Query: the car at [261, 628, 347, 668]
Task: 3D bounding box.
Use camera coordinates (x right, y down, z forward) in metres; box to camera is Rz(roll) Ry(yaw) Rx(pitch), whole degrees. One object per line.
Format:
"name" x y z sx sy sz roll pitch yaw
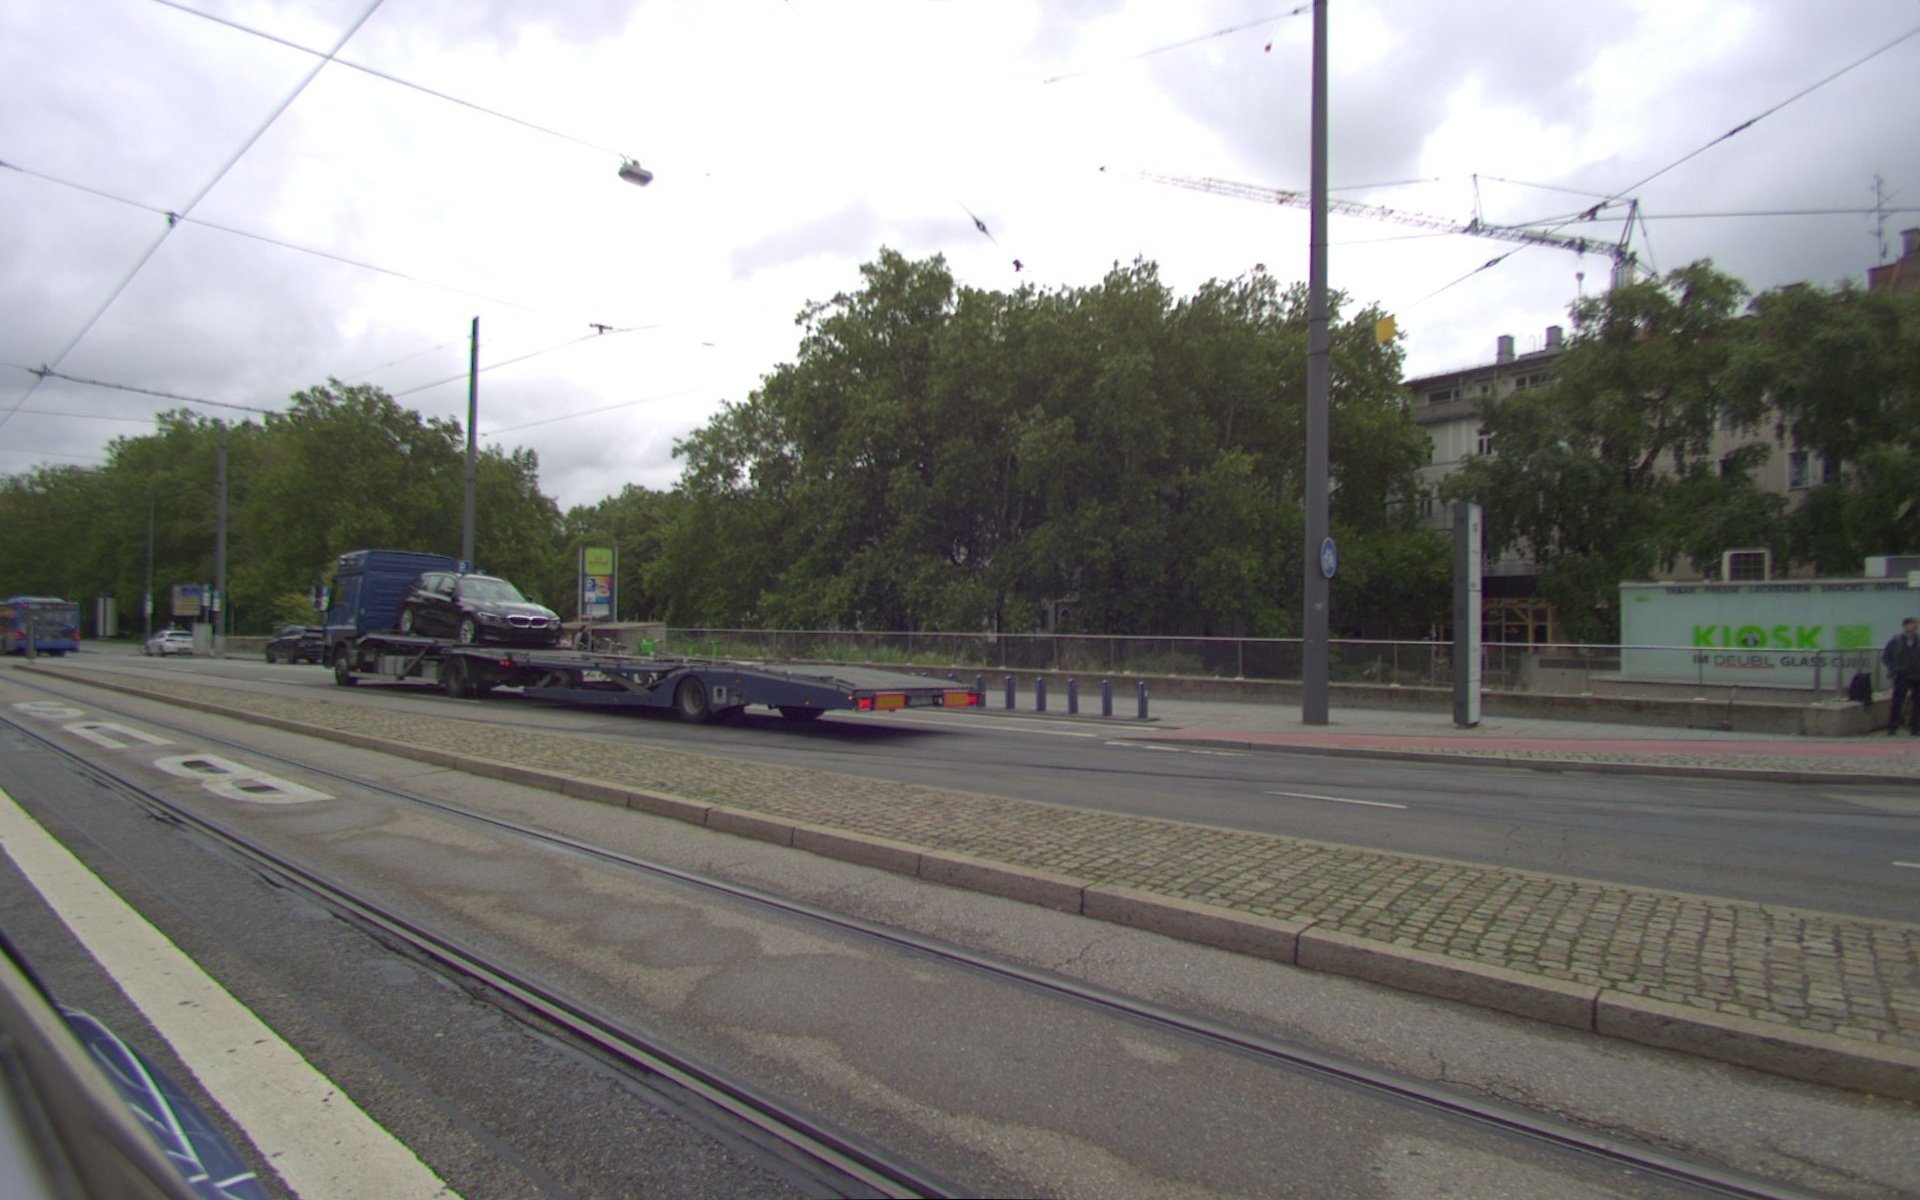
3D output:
"car" -27.710 1.994 42.696 4.099 1.582 1.973 -1 -2 41

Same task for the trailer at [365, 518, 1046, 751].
"trailer" -5.724 0.576 17.667 15.621 2.703 2.584 -1 -4 39

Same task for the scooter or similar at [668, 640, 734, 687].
"scooter or similar" -6.827 1.659 26.743 0.561 1.181 1.671 -1 -2 38

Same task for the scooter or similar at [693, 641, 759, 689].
"scooter or similar" -5.973 1.644 25.922 0.561 1.181 1.671 -1 -2 38

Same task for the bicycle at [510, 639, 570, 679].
"bicycle" -12.687 1.768 30.599 0.560 1.181 1.675 -1 -2 31

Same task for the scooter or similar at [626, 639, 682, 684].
"scooter or similar" -8.499 1.690 28.141 0.558 1.181 1.681 -1 -2 22

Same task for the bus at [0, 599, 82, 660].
"bus" -50.974 1.629 55.060 13.403 2.989 2.599 -1 -4 40

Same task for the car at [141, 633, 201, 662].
"car" -43.838 2.628 56.227 3.998 1.542 1.868 -1 -3 41

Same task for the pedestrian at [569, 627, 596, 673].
"pedestrian" -12.830 1.692 34.362 0.588 1.570 0.624 -1 -3 40

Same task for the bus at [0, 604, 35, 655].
"bus" -61.062 1.815 63.472 12.833 2.989 2.599 -1 -4 40

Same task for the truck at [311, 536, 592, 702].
"truck" -11.423 0.470 22.358 7.683 3.111 2.540 -1 -4 39

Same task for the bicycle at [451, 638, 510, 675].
"bicycle" -15.813 1.838 33.400 0.561 1.181 1.672 -1 -2 38

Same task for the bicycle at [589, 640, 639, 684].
"bicycle" -9.684 1.713 28.418 0.556 1.181 1.687 0 -2 11

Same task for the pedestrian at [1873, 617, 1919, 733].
"pedestrian" 14.595 1.132 15.437 0.725 1.729 0.862 2 -2 -38
